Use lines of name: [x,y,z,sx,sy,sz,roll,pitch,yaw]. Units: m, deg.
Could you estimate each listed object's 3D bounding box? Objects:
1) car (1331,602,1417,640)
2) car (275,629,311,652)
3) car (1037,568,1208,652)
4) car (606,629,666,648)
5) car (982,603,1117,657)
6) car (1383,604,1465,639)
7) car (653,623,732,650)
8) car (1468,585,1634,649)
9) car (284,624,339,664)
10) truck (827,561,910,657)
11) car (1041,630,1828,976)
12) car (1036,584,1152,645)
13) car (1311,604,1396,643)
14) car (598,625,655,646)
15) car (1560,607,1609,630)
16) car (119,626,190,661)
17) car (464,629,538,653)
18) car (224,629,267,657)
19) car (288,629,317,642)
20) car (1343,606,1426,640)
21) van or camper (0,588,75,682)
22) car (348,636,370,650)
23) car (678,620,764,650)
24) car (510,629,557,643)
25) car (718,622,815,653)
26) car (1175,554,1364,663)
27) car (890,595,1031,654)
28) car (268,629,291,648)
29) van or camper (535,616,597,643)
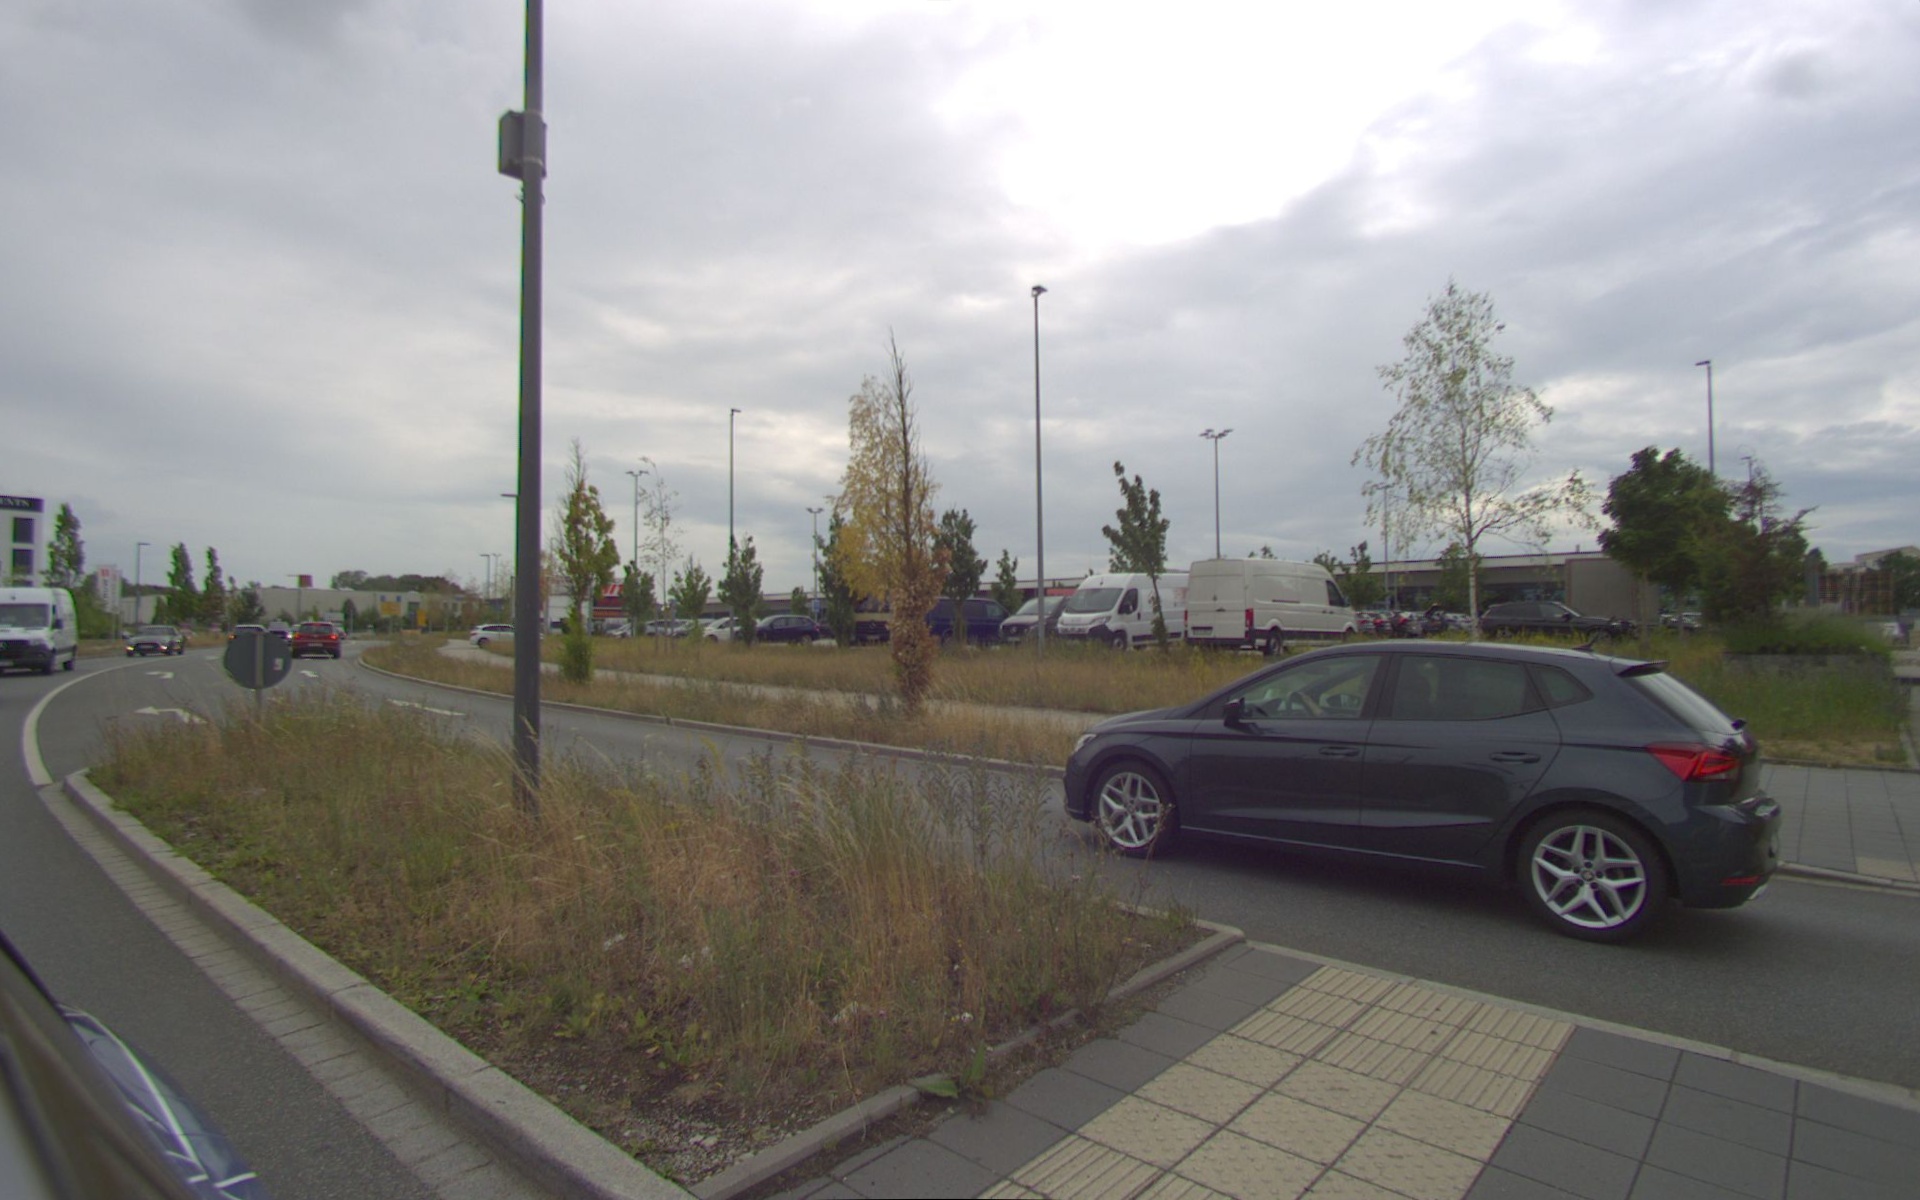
car: [23.207,1.191,56.882,1.968,2.029,4.007,1,-2,-40]
car: [-43.710,2.629,66.352,1.678,1.449,4.044,1,-3,-29]
car: [5.132,0.350,31.181,2.210,2.324,6.001,-2,-2,43]
car: [-25.744,3.043,80.398,4.258,1.468,2.017,1,-3,-28]
car: [3.047,0.991,33.464,1.994,1.629,4.850,-2,-2,41]
car: [27.520,1.316,60.120,1.966,2.029,4.011,1,-2,-33]
car: [-15.862,2.166,60.037,4.182,1.525,2.052,0,-2,-26]
car: [20.351,0.624,34.973,4.637,2.048,1.972,-2,-3,42]
car: [-29.391,1.986,45.842,1.775,1.682,4.337,4,-4,-36]
truck: [-3.951,0.442,41.937,2.813,3.568,8.445,0,-2,-9]
car: [2.650,0.927,6.193,3.998,1.418,1.822,-2,-4,41]
car: [6.281,0.748,47.792,5.138,2.711,2.038,-2,-3,38]
car: [21.331,1.271,54.945,1.724,2.029,4.009,1,-2,-36]
car: [-28.006,2.974,84.920,4.240,1.667,2.087,1,-3,-29]
car: [46.241,1.405,74.917,3.937,1.619,2.003,1,-2,-41]
car: [-38.484,2.066,48.433,1.727,1.597,4.013,0,-2,-25]
car: [-28.320,2.516,62.468,4.120,1.480,1.892,1,-2,-25]
car: [-37.771,2.256,53.561,1.805,1.431,4.256,1,-2,-35]
car: [-112.362,6.061,173.016,1.633,2.029,3.967,-1,-2,24]
car: [24.713,1.368,58.977,1.968,1.912,4.007,1,-2,-40]
van or camper: [-28.367,1.073,30.505,2.229,2.636,5.707,2,-3,-39]
car: [-73.627,5.273,123.975,1.965,1.649,4.717,3,-3,-27]
car: [-13.095,1.919,55.510,4.191,1.571,1.994,1,-3,-36]
car: [-40.713,3.458,96.570,4.023,1.269,2.018,1,-3,-27]
car: [-9.325,1.794,48.894,4.174,1.446,2.003,1,-3,-33]
car: [8.550,0.276,27.487,2.244,2.618,6.335,-2,-2,44]
car: [0.073,0.915,36.915,4.839,2.005,2.183,1,-2,-38]
car: [-60.591,3.409,90.135,1.728,1.597,4.010,0,-2,-34]
van or camper: [-42.335,3.183,108.761,5.774,2.821,2.248,1,-2,-36]
